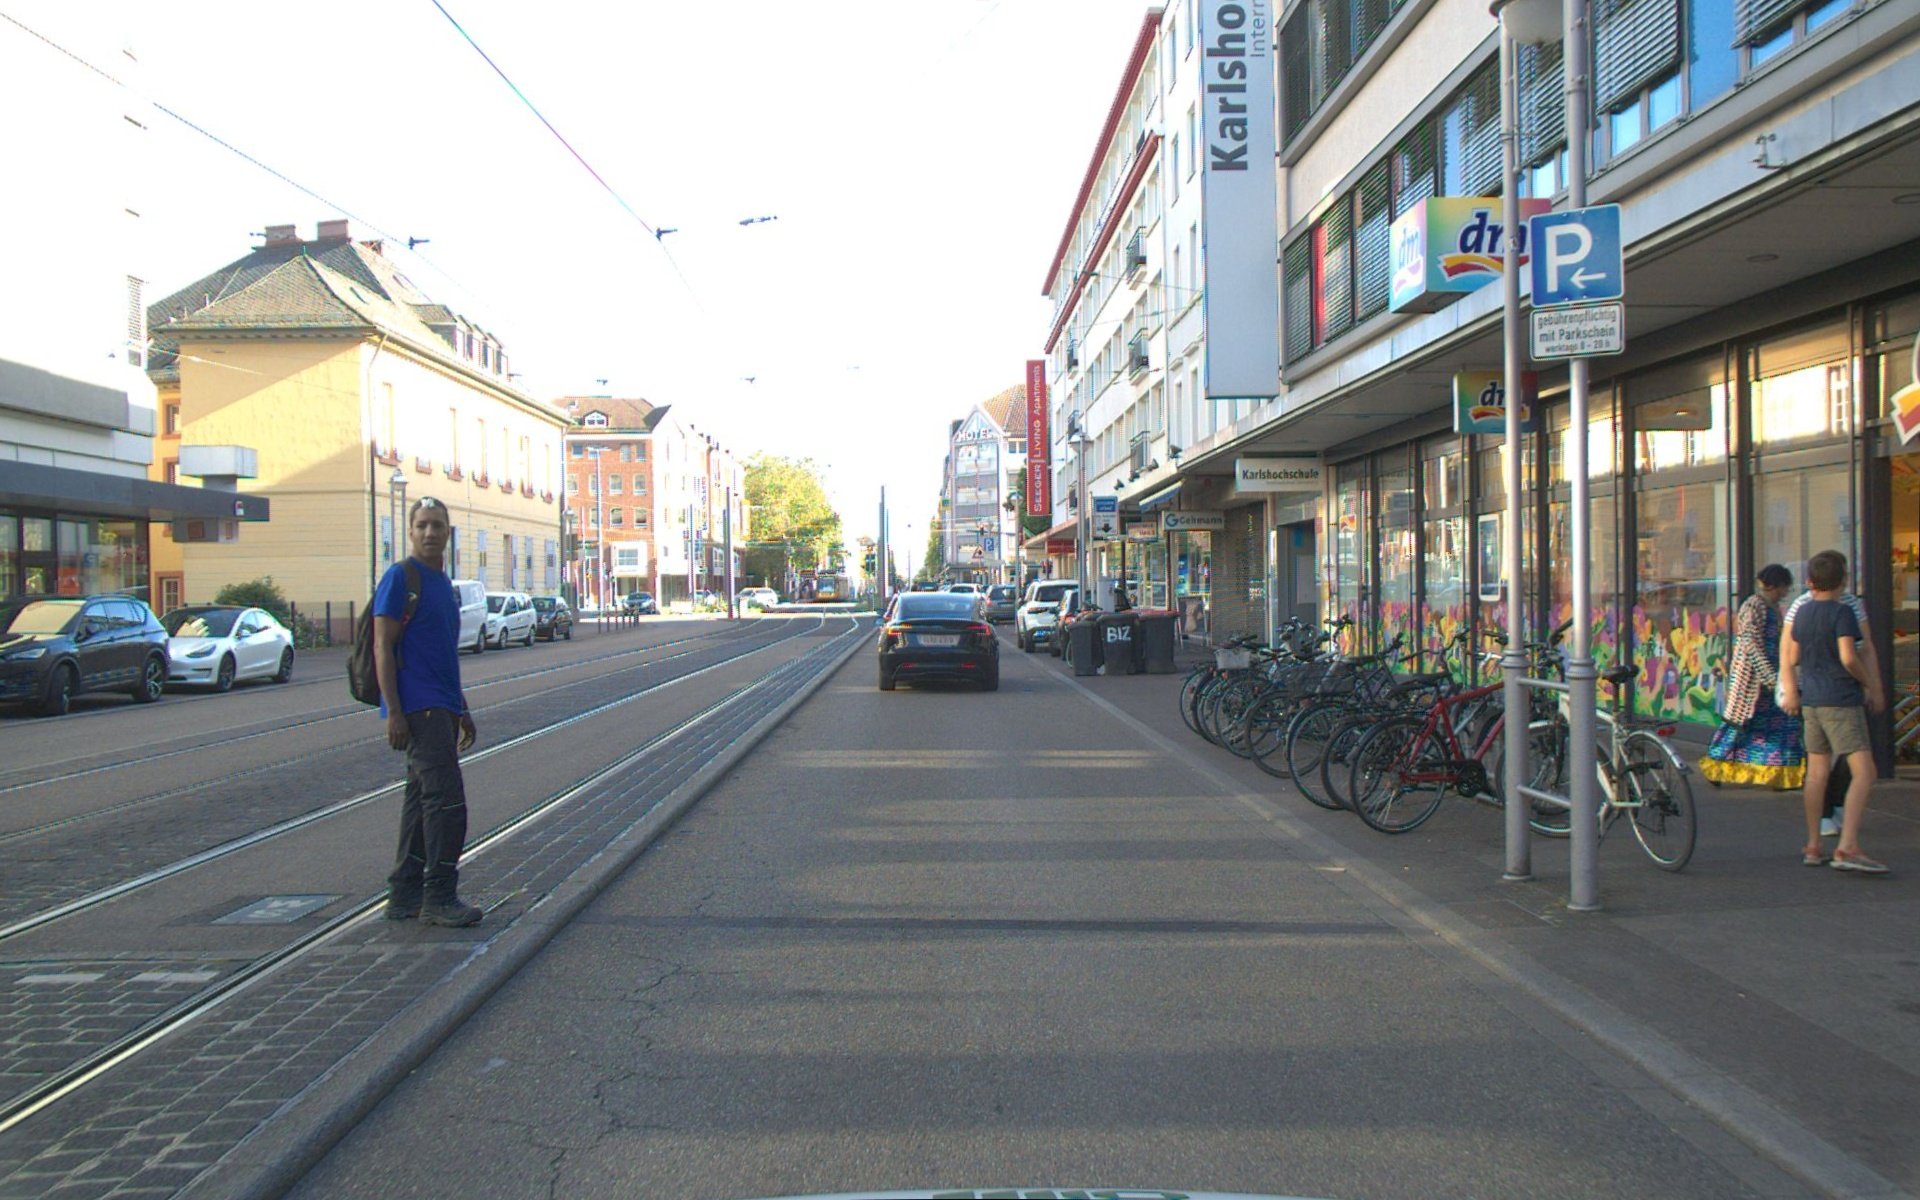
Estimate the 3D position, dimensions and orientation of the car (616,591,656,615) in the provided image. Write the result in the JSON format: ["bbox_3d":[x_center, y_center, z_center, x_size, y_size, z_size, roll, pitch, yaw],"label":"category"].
[{"bbox_3d":[-21.523,0.203,110.019,1.864,1.489,4.000,1,0,0],"label":"car"}]

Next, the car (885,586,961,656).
[{"bbox_3d":[-0.806,0.441,37.323,1.620,1.443,4.000,1,1,-1],"label":"car"}]

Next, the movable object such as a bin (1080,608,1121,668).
[{"bbox_3d":[2.495,0.664,29.357,0.672,1.032,0.508,-2,0,1],"label":"movable object such as a bin"}]

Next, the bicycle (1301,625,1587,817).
[{"bbox_3d":[3.177,0.778,10.898,1.739,1.150,0.478,-2,0,-7],"label":"bicycle"}]

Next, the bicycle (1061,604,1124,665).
[{"bbox_3d":[2.504,0.647,31.235,1.108,1.098,0.319,-3,0,-3],"label":"bicycle"}]

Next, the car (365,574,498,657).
[{"bbox_3d":[-13.773,0.380,43.431,1.953,2.009,5.095,1,0,-2],"label":"car"}]

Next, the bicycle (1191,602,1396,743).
[{"bbox_3d":[3.127,0.668,15.600,1.751,1.238,0.669,-2,0,-2],"label":"bicycle"}]

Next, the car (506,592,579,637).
[{"bbox_3d":[-13.929,0.472,55.308,1.581,1.425,3.719,1,0,-2],"label":"car"}]

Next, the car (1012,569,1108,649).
[{"bbox_3d":[2.380,0.211,40.659,1.812,1.754,5.191,-3,0,-2],"label":"car"}]

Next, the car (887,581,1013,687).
[{"bbox_3d":[-0.216,0.489,25.761,1.812,1.510,3.785,0,0,-2],"label":"car"}]

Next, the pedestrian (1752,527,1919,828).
[{"bbox_3d":[4.953,0.420,9.347,0.570,1.613,0.597,-3,0,-3],"label":"pedestrian"}]

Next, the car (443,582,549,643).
[{"bbox_3d":[-13.876,0.361,49.733,1.770,1.715,4.649,1,0,1],"label":"car"}]

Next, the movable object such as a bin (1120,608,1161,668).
[{"bbox_3d":[3.200,0.669,29.383,0.644,1.032,0.636,-2,0,1],"label":"movable object such as a bin"}]

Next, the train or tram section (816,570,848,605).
[{"bbox_3d":[-14.441,-1.347,187.674,2.620,3.780,14.190,1,0,-1],"label":"train or tram section"}]

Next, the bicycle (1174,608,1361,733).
[{"bbox_3d":[3.121,0.706,16.889,1.751,1.179,0.669,-2,0,-2],"label":"bicycle"}]

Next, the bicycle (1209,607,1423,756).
[{"bbox_3d":[3.158,0.713,14.749,1.751,1.238,0.587,-2,0,-2],"label":"bicycle"}]

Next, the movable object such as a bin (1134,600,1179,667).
[{"bbox_3d":[3.398,0.575,28.661,0.676,1.108,0.666,-2,0,2],"label":"movable object such as a bin"}]

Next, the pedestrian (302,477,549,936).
[{"bbox_3d":[-2.314,0.438,7.251,0.788,1.869,0.746,-2,0,-3],"label":"pedestrian"}]

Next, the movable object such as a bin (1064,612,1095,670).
[{"bbox_3d":[2.074,0.709,28.719,0.477,0.975,0.458,-2,0,2],"label":"movable object such as a bin"}]

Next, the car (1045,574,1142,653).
[{"bbox_3d":[2.821,0.265,35.675,1.582,1.555,4.069,-2,0,-2],"label":"car"}]

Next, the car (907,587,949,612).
[{"bbox_3d":[-2.103,-0.027,107.172,1.793,1.545,4.203,1,0,-14],"label":"car"}]

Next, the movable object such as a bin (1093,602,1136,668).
[{"bbox_3d":[2.673,0.599,28.648,0.676,1.108,0.686,-2,0,2],"label":"movable object such as a bin"}]

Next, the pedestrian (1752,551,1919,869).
[{"bbox_3d":[4.436,0.534,8.337,0.513,1.519,0.583,-3,0,-3],"label":"pedestrian"}]

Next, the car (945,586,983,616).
[{"bbox_3d":[0.199,0.027,88.934,1.748,1.545,4.214,1,0,-4],"label":"car"}]

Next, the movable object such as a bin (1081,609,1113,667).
[{"bbox_3d":[2.491,0.688,30.082,0.511,1.032,0.671,-2,0,1],"label":"movable object such as a bin"}]

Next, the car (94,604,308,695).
[{"bbox_3d":[-13.518,0.831,29.788,1.850,1.446,4.654,1,0,-3],"label":"car"}]

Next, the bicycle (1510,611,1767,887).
[{"bbox_3d":[3.523,0.718,8.738,0.570,1.279,1.601,-3,0,-3],"label":"bicycle"}]

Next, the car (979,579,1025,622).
[{"bbox_3d":[1.720,-0.006,68.320,1.710,1.660,3.648,-2,1,-1],"label":"car"}]

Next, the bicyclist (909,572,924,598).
[{"bbox_3d":[-2.562,-0.877,97.135,0.821,1.526,0.559,1,0,-9],"label":"bicyclist"}]

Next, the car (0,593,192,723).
[{"bbox_3d":[-13.362,0.773,24.373,1.938,1.708,4.654,1,0,-1],"label":"car"}]

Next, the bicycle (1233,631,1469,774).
[{"bbox_3d":[3.145,0.813,13.382,1.738,1.050,0.596,-2,0,-2],"label":"bicycle"}]

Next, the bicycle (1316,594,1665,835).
[{"bbox_3d":[3.291,0.680,10.277,2.000,1.296,0.523,-4,1,-11],"label":"bicycle"}]

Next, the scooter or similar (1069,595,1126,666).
[{"bbox_3d":[2.554,0.561,30.689,0.973,1.253,0.319,-3,0,-3],"label":"scooter or similar"}]

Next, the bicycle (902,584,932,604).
[{"bbox_3d":[-2.515,-0.345,97.111,1.696,1.107,0.677,1,0,-9],"label":"bicycle"}]

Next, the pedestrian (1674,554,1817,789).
[{"bbox_3d":[5.286,0.468,11.142,0.576,1.511,0.591,-3,0,-32],"label":"pedestrian"}]
